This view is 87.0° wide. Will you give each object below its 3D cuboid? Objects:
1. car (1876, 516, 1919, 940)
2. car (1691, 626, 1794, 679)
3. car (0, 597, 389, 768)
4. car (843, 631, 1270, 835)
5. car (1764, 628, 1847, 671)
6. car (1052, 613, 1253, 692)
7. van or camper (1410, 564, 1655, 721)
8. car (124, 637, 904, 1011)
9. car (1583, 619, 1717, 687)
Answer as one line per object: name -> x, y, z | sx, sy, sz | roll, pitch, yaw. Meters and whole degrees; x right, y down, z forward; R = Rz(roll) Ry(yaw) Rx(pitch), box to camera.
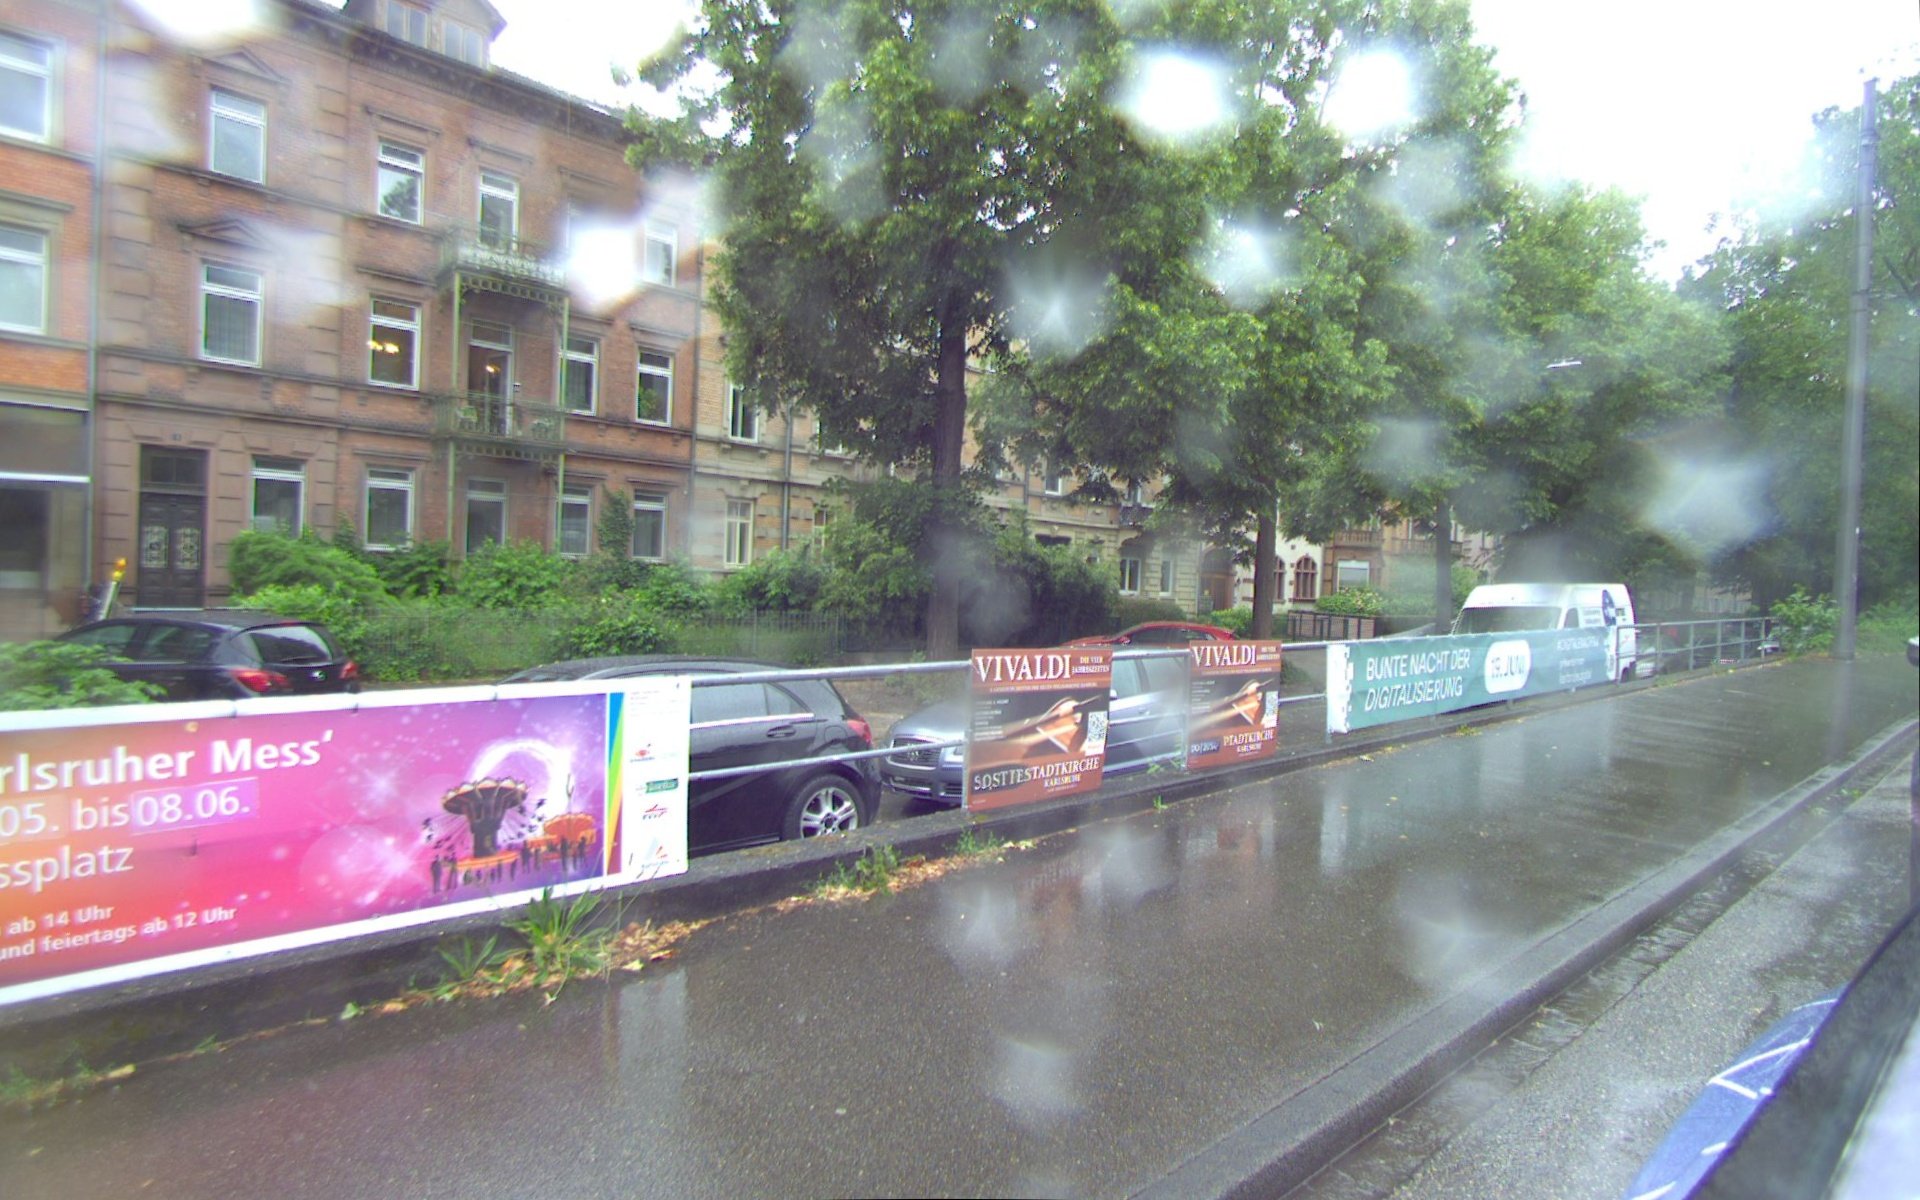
car -> 6.086, 0.558, 4.780 | 4.595, 1.667, 1.913 | 1, 0, -39
car -> 23.427, 1.512, 30.268 | 3.930, 1.389, 1.702 | 0, 0, -41
car -> -8.565, 0.780, 10.957 | 3.940, 1.527, 1.853 | 1, 0, 13
car -> 1.086, 1.087, 9.827 | 4.141, 1.488, 1.730 | 1, 0, -41
car -> 32.119, 1.839, 38.420 | 3.929, 1.473, 1.808 | 2, 0, -41
car -> 4.321, 1.118, 22.627 | 4.230, 1.488, 1.700 | 2, 0, 18
van or camper -> 11.306, 0.730, 19.747 | 5.991, 2.624, 2.330 | 1, 0, -42
car -> -2.531, 1.031, 6.350 | 4.142, 1.482, 1.749 | 1, 0, -41
car -> 16.638, 1.206, 24.334 | 4.142, 1.365, 1.629 | 0, 1, -41
